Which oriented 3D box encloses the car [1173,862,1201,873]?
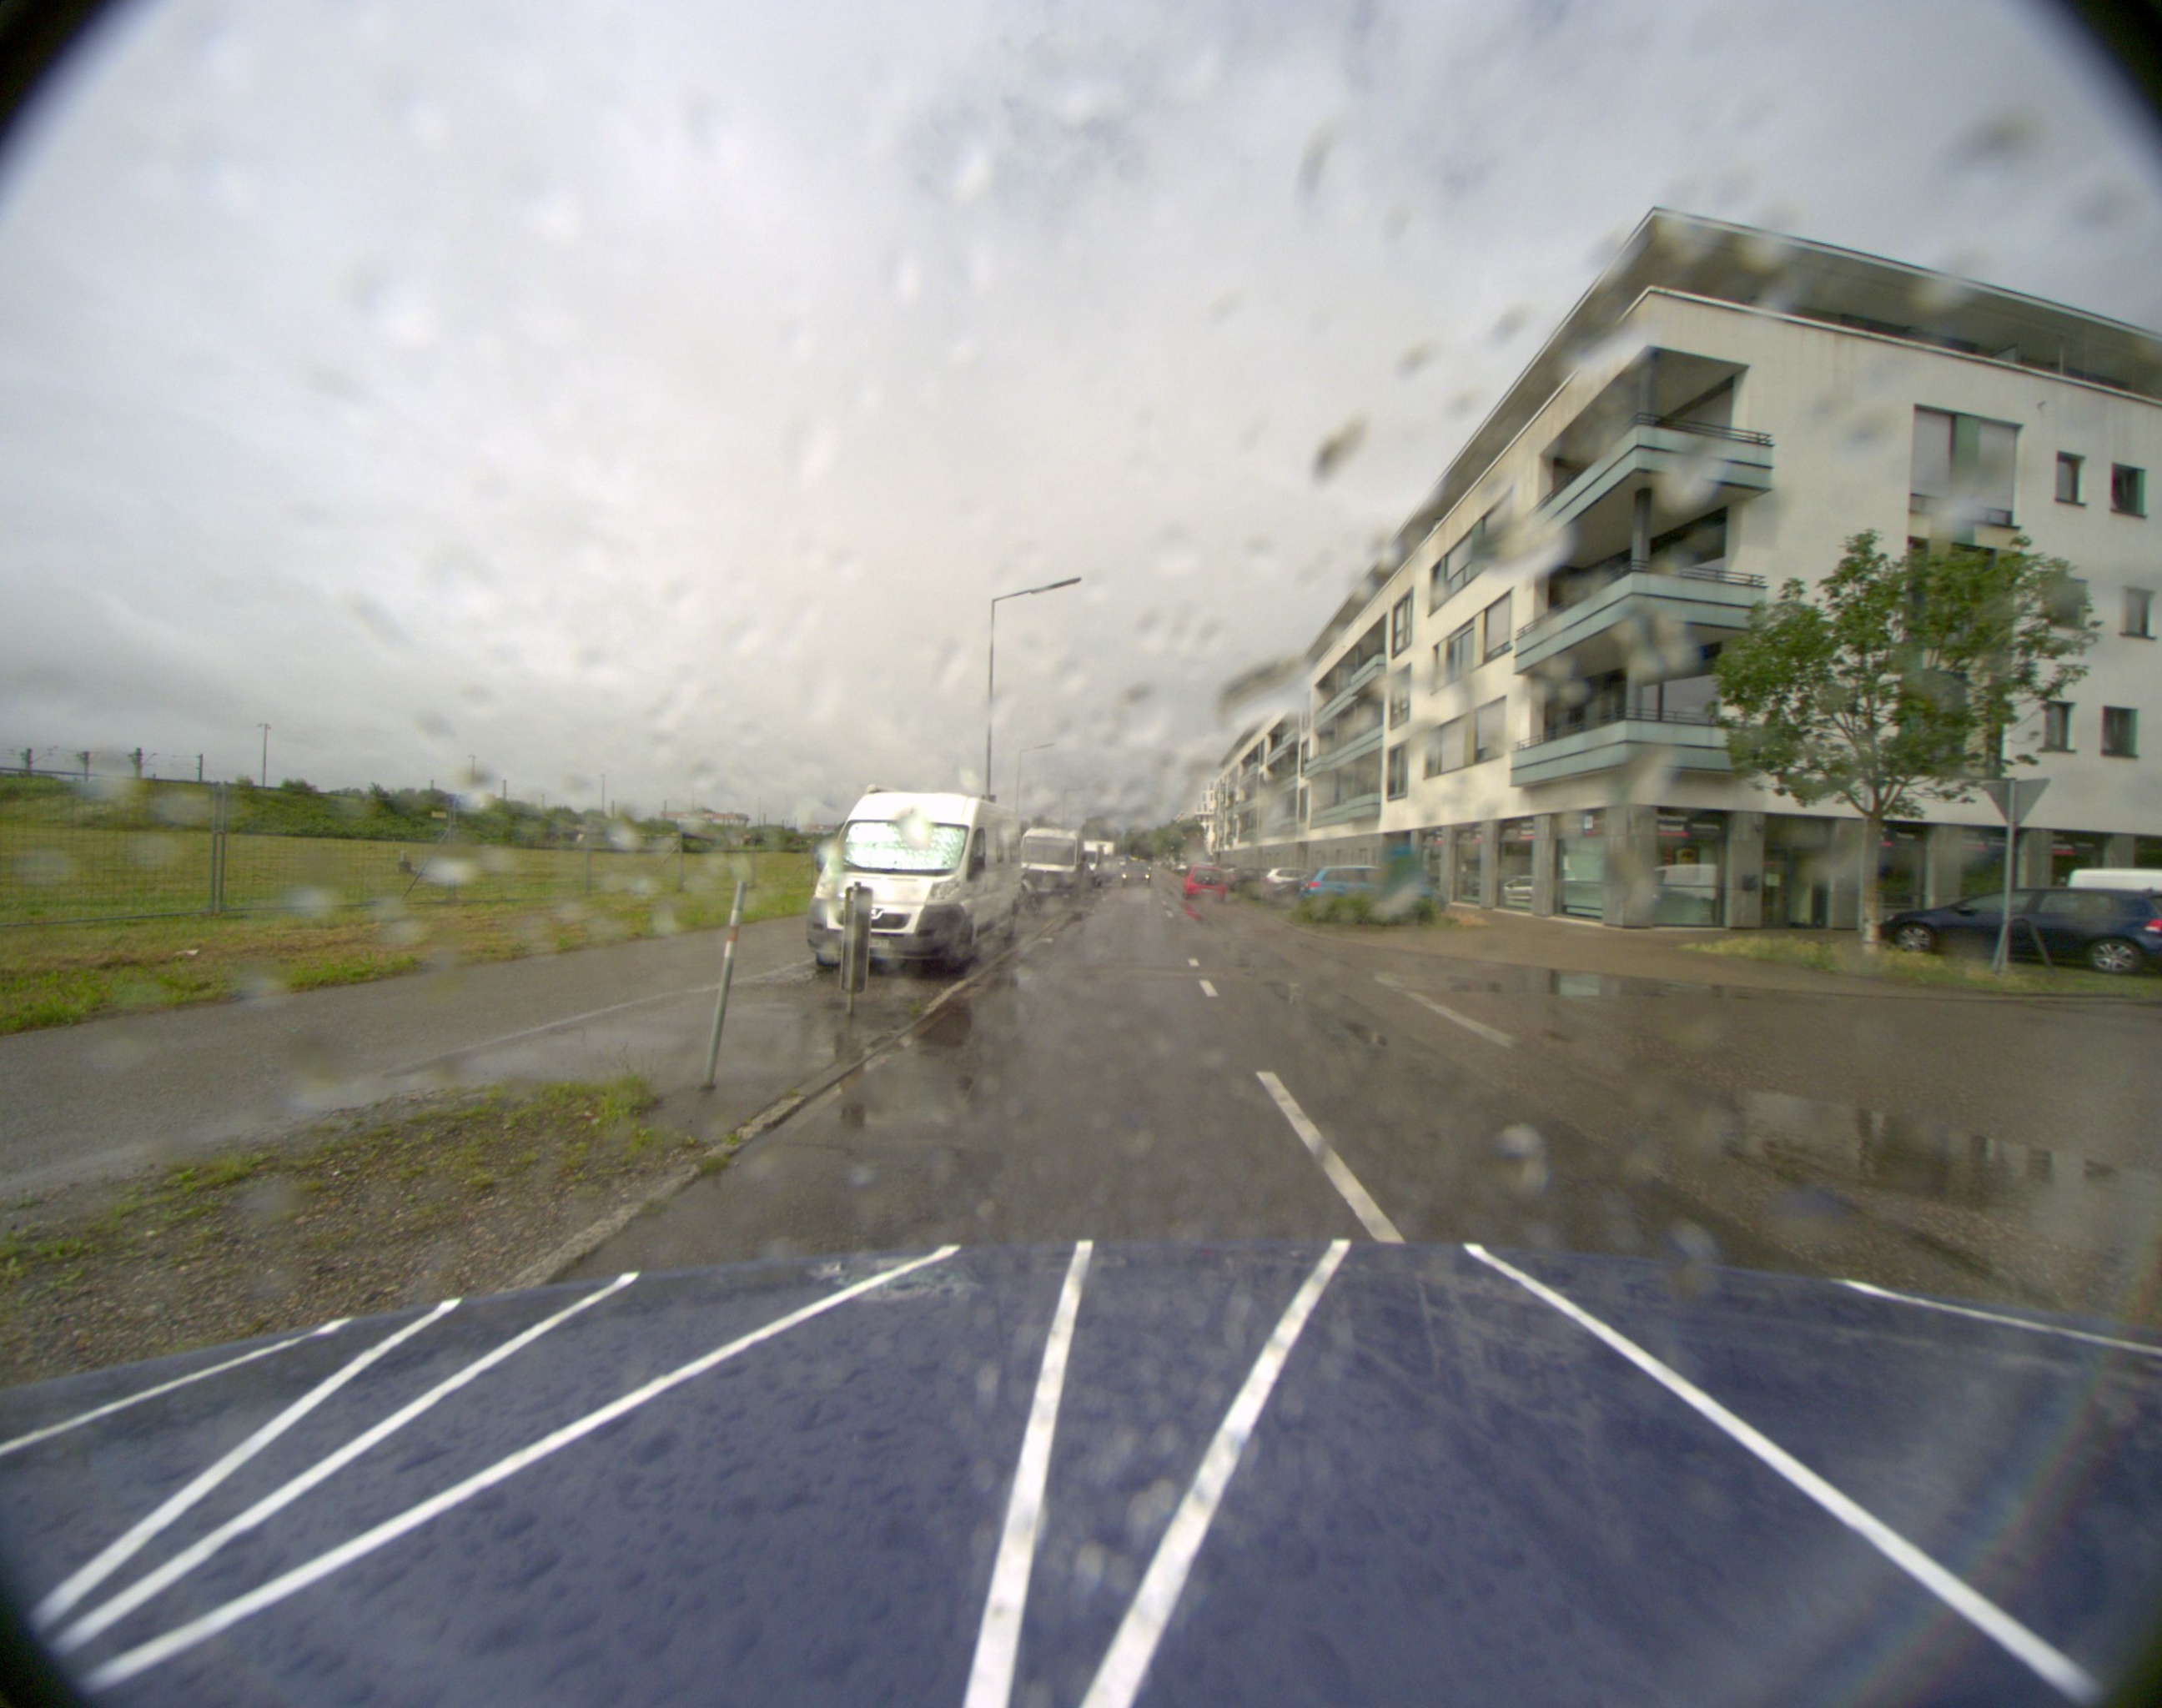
[{"bbox_3d":[14.923,1.896,107.554,3.797,1.362,1.745,-1,0,4],"label":"car"}]

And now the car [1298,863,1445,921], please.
[{"bbox_3d":[8.616,1.112,22.807,3.818,1.624,1.756,-1,0,7],"label":"car"}]

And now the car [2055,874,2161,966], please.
[{"bbox_3d":[23.047,1.397,15.015,1.644,1.825,4.344,0,1,-13],"label":"car"}]

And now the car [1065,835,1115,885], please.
[{"bbox_3d":[0.617,0.374,43.725,2.072,2.513,6.661,4,-1,6],"label":"car"}]

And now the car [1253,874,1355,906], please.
[{"bbox_3d":[8.786,1.417,30.146,3.612,1.176,1.540,-1,0,4],"label":"car"}]

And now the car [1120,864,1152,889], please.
[{"bbox_3d":[3.592,1.457,48.961,1.873,1.510,4.360,-1,-1,6],"label":"car"}]

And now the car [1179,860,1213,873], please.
[{"bbox_3d":[13.153,1.443,87.061,3.797,1.362,1.745,-1,0,4],"label":"car"}]

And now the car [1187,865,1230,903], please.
[{"bbox_3d":[5.361,1.231,32.257,1.660,1.459,3.391,2,0,8],"label":"car"}]

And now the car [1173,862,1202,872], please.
[{"bbox_3d":[14.714,1.828,105.097,3.797,1.362,1.745,-1,0,4],"label":"car"}]

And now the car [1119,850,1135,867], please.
[{"bbox_3d":[6.481,0.635,106.993,1.998,2.228,4.565,2,0,5],"label":"car"}]

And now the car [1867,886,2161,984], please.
[{"bbox_3d":[18.034,1.410,14.348,1.644,1.388,4.183,0,1,-13],"label":"car"}]

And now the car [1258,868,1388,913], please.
[{"bbox_3d":[8.763,1.315,27.796,4.181,1.540,1.860,-1,0,4],"label":"car"}]

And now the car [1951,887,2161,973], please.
[{"bbox_3d":[20.291,1.459,14.769,1.689,1.388,4.123,0,1,-13],"label":"car"}]

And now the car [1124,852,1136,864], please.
[{"bbox_3d":[8.968,0.736,139.025,1.998,2.228,4.565,2,0,5],"label":"car"}]

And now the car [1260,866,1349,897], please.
[{"bbox_3d":[10.390,1.282,35.565,3.666,1.369,1.687,-1,-1,2],"label":"car"}]

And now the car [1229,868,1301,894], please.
[{"bbox_3d":[10.237,1.485,42.487,3.739,1.365,1.645,0,0,5],"label":"car"}]

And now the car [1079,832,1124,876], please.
[{"bbox_3d":[1.593,0.061,56.033,2.475,2.938,6.891,3,0,7],"label":"car"}]

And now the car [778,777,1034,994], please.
[{"bbox_3d":[-2.285,0.371,12.006,2.096,2.458,5.950,3,0,5],"label":"car"}]

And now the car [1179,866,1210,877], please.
[{"bbox_3d":[14.176,2.189,95.094,3.797,1.362,1.745,-1,0,4],"label":"car"}]

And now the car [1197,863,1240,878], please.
[{"bbox_3d":[13.095,1.577,72.539,3.797,1.362,1.745,-1,0,4],"label":"car"}]

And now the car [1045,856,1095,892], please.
[{"bbox_3d":[-0.440,0.914,36.339,1.733,1.485,4.444,4,0,7],"label":"car"}]

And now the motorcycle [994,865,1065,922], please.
[{"bbox_3d":[-1.333,1.018,19.697,1.649,1.366,0.720,4,0,-14],"label":"motorcycle"}]

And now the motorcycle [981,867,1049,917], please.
[{"bbox_3d":[-1.812,1.041,20.786,1.677,1.188,0.648,5,1,-17],"label":"motorcycle"}]

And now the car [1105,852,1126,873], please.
[{"bbox_3d":[3.891,0.952,85.177,1.998,2.228,4.565,2,0,5],"label":"car"}]

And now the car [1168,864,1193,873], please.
[{"bbox_3d":[15.754,2.224,120.040,3.797,1.362,1.745,-1,0,4],"label":"car"}]

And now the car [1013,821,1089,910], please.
[{"bbox_3d":[-0.989,0.392,28.587,2.149,2.866,5.277,5,0,3],"label":"car"}]
